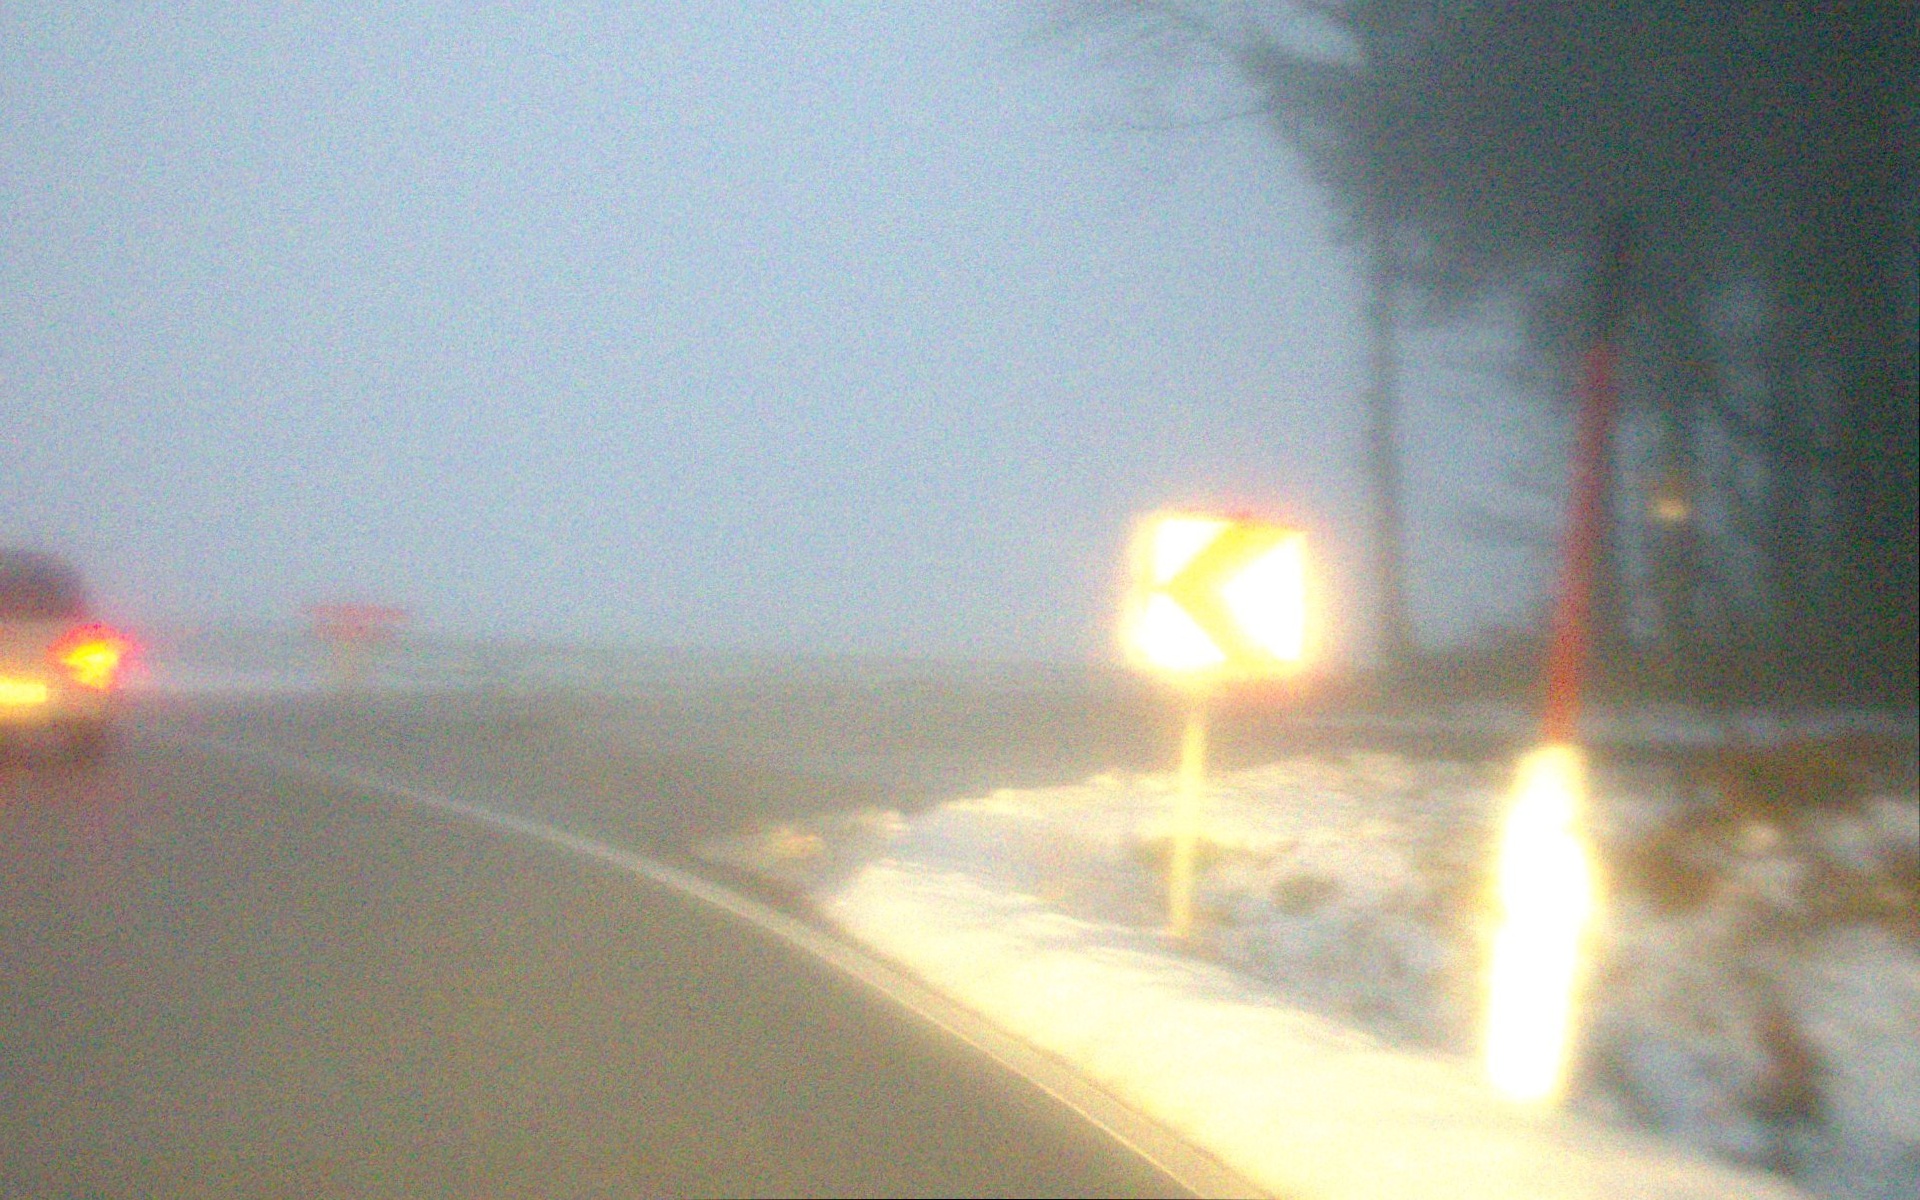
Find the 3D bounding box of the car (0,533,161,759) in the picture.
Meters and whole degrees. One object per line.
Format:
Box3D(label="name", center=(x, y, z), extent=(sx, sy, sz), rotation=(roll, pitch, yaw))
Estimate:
Box3D(label="car", center=(-6.661, 0.246, 23.156), extent=(1.945, 1.376, 4.001), rotation=(0, 1, -21))
